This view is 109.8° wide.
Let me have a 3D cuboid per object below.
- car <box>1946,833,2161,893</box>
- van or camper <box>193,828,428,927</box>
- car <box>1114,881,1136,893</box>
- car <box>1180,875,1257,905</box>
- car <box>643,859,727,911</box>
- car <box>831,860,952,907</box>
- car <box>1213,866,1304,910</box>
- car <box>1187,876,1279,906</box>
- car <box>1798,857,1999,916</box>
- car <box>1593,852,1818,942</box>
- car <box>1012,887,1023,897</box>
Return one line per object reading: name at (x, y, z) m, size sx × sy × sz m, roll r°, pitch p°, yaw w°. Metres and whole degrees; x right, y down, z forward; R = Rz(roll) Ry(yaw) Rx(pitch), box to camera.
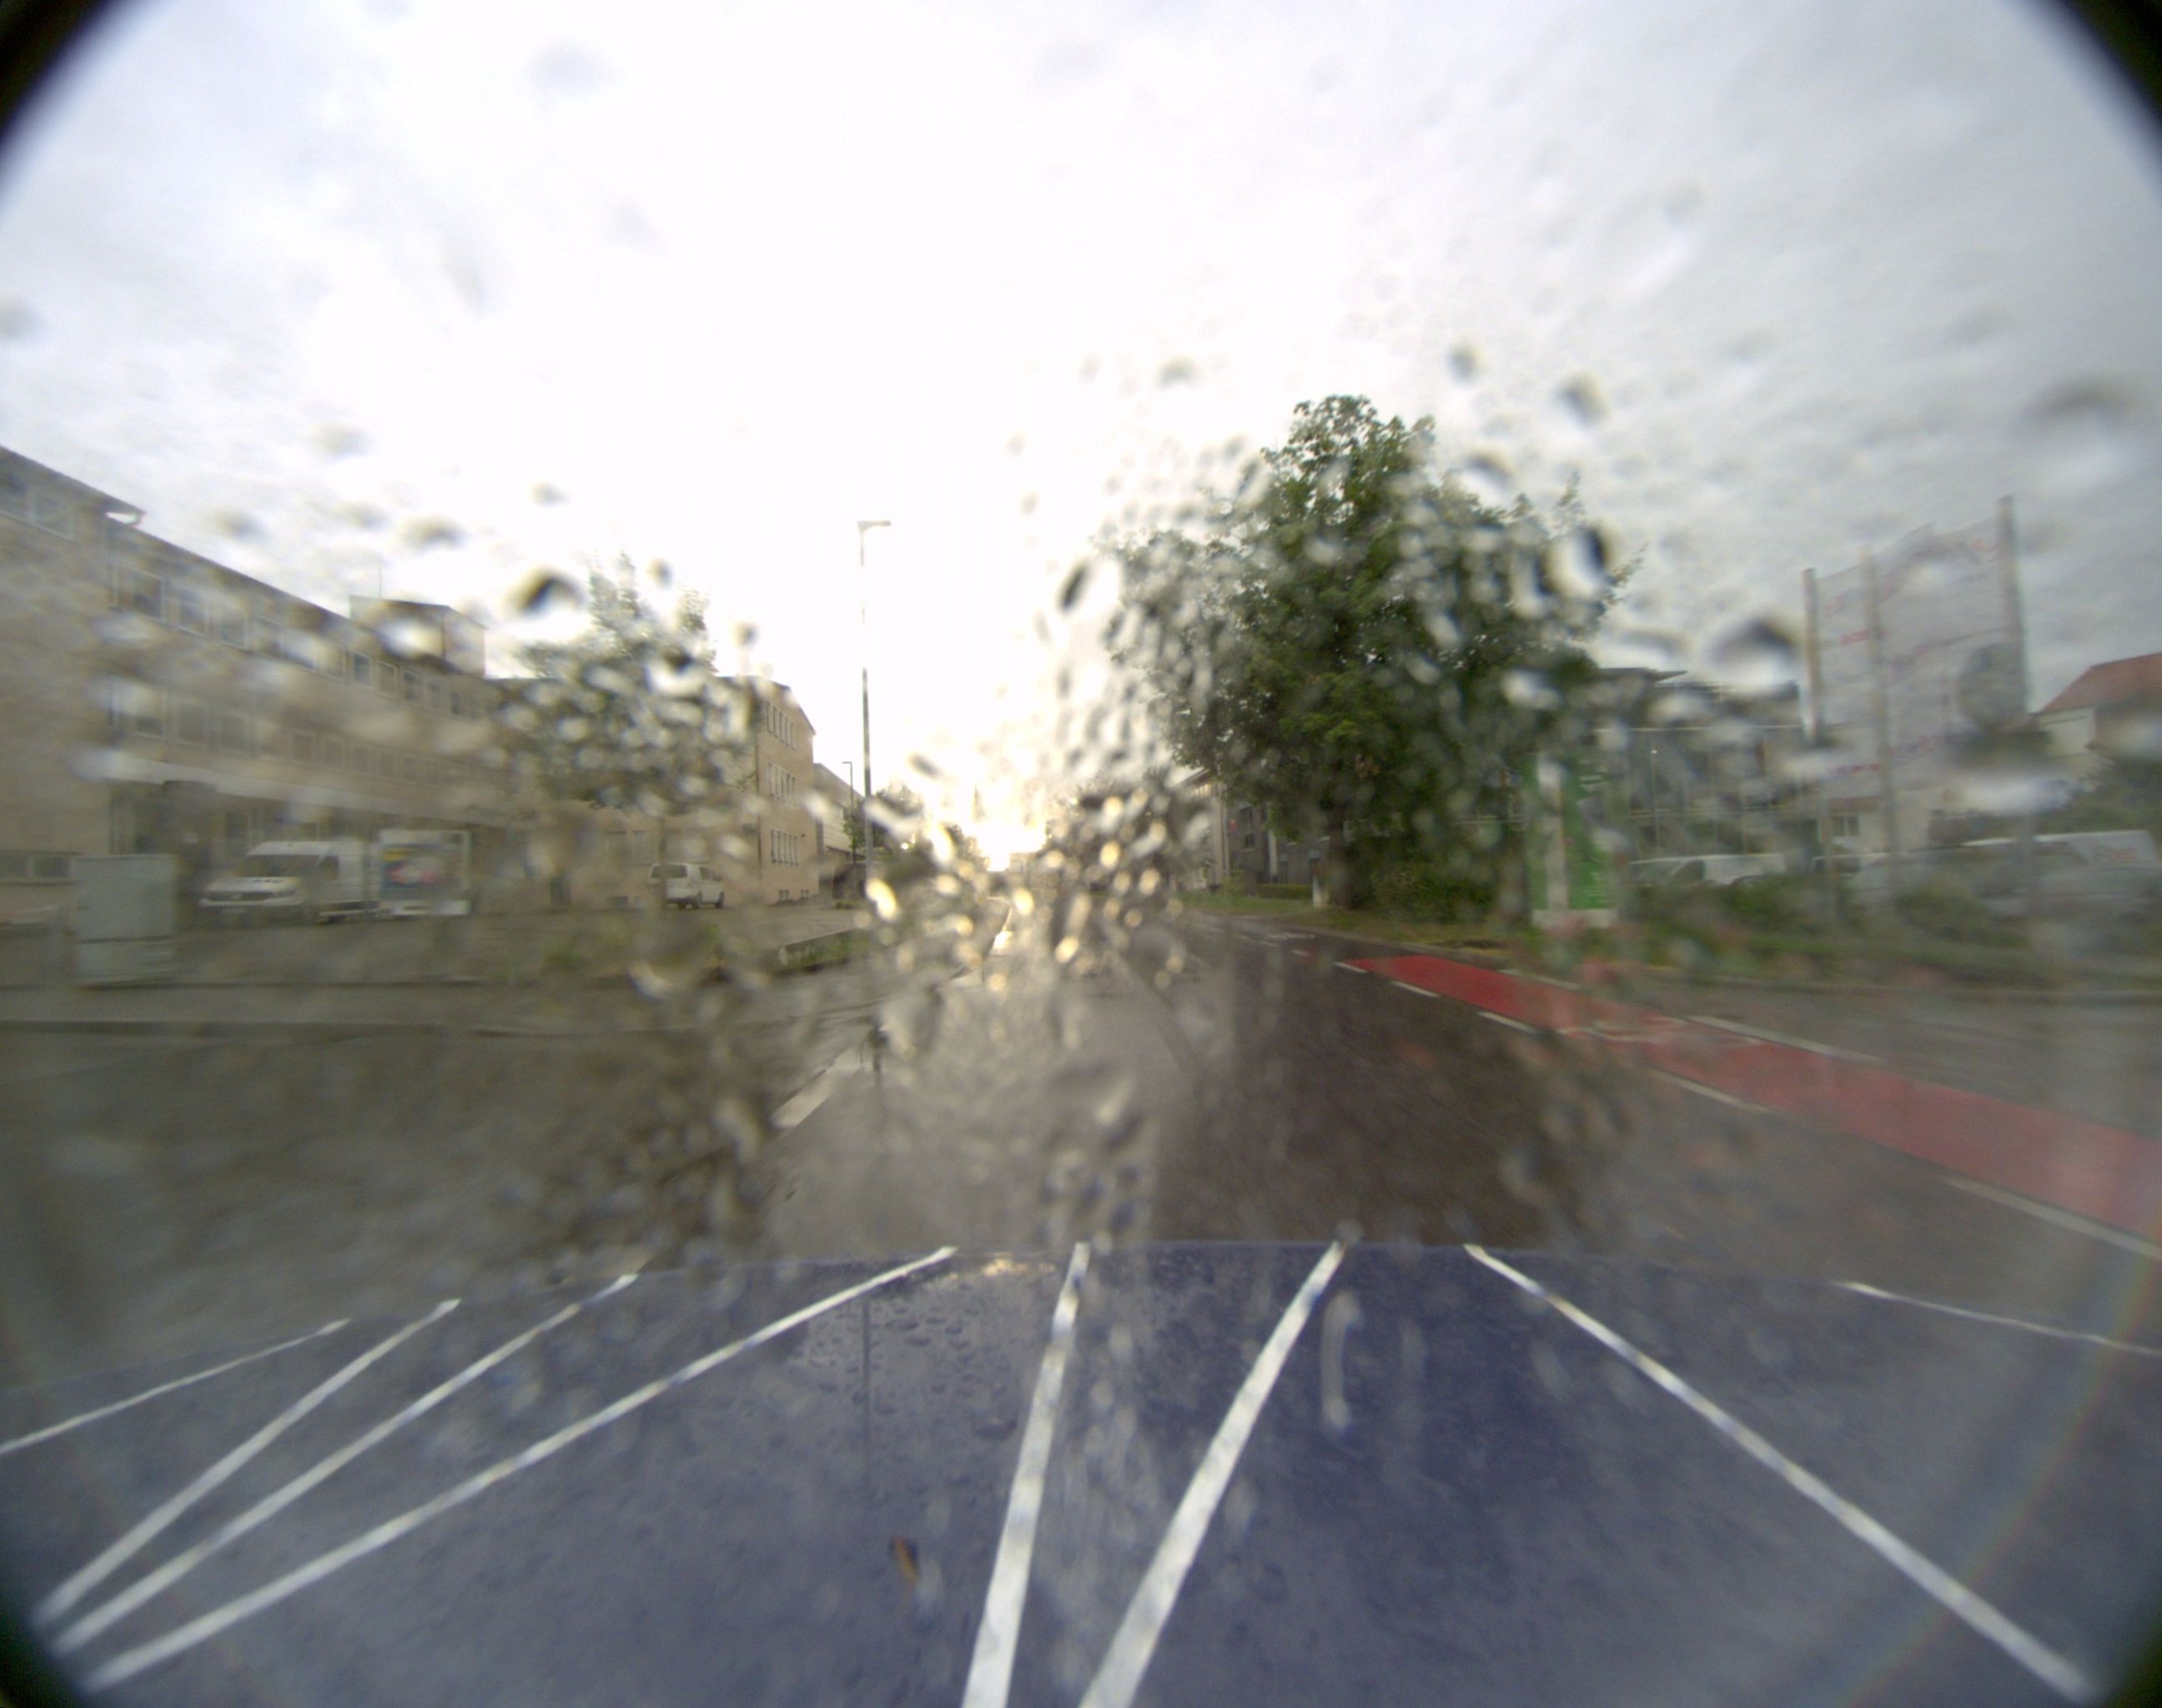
car at (27.834, 0.257, 21.492) m, size 4.563 × 1.558 × 2.179 m, roll -1°, pitch -1°, yaw -6°
van or camper at (-23.077, 0.806, 23.268) m, size 2.001 × 2.520 × 6.599 m, roll -3°, pitch -3°, yaw -16°
car at (7.384, 5.564, 128.057) m, size 2.041 × 1.810 × 5.606 m, roll -3°, pitch -3°, yaw -14°
car at (5.797, 1.505, 32.218) m, size 2.917 × 1.152 × 1.471 m, roll -1°, pitch -1°, yaw -5°
car at (-17.211, 1.418, 33.257) m, size 1.799 × 2.000 × 4.600 m, roll -3°, pitch -3°, yaw -9°
car at (-8.215, 1.250, 32.763) m, size 5.102 × 1.908 × 2.058 m, roll -2°, pitch -1°, yaw 31°
car at (6.332, 1.189, 27.250) m, size 2.917 × 1.446 × 1.252 m, roll -1°, pitch 1°, yaw -5°
car at (7.133, 1.726, 35.811) m, size 3.912 × 1.276 × 1.581 m, roll -1°, pitch -1°, yaw -5°
car at (26.399, 1.025, 24.636) m, size 4.563 × 1.780 × 2.046 m, roll -1°, pitch -1°, yaw -5°
car at (16.707, 1.143, 20.450) m, size 4.411 × 2.001 × 2.153 m, roll -3°, pitch -3°, yaw -9°
car at (-11.617, 6.950, 139.075) m, size 1.856 × 1.544 × 4.502 m, roll -3°, pitch -3°, yaw -6°
